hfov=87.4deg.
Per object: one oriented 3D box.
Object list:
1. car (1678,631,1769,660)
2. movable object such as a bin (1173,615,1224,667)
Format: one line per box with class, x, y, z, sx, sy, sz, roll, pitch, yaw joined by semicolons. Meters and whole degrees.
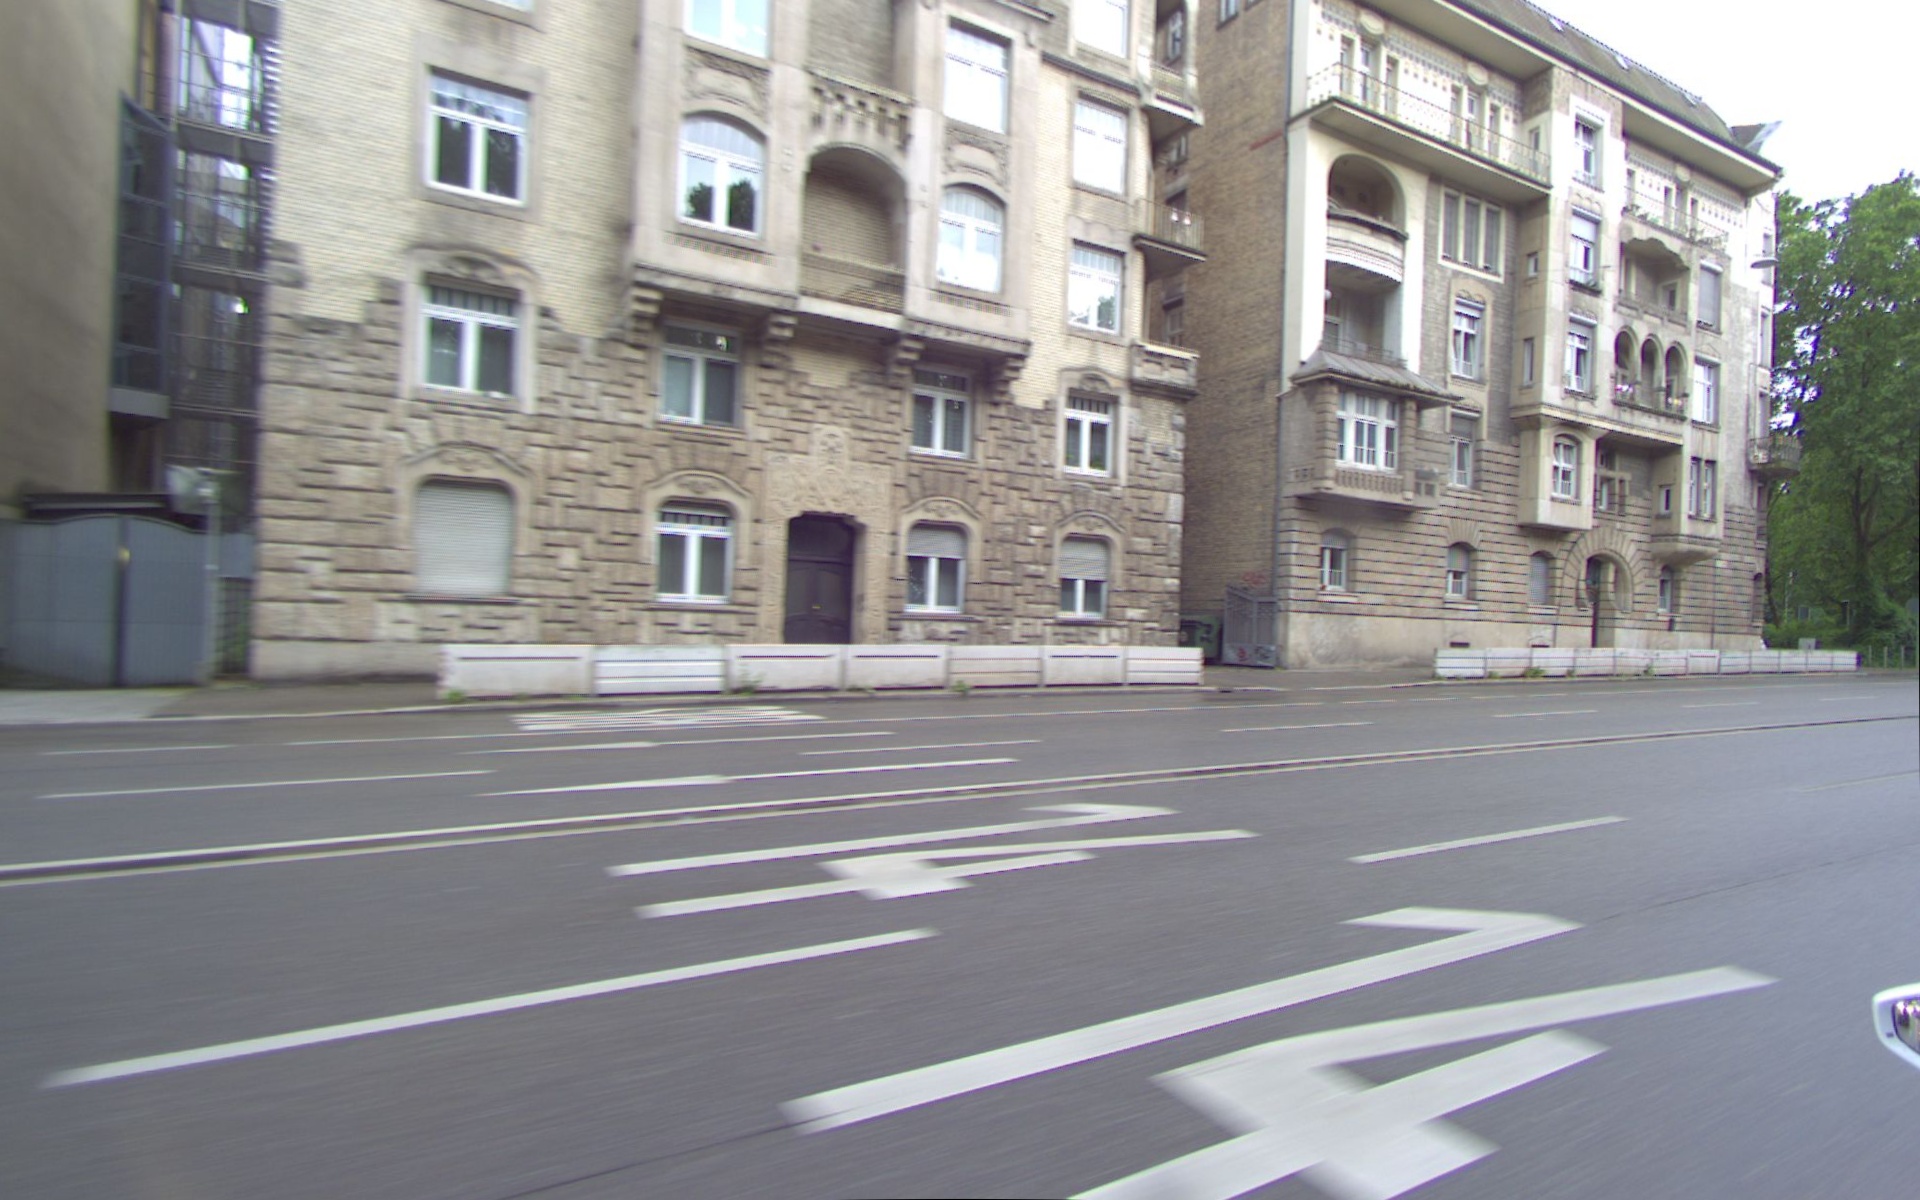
car;40.211;2.372;52.983;1.751;1.394;3.491;0;-1;-19
movable object such as a bin;6.912;1.179;29.162;1.011;1.454;1.020;-2;0;-31
